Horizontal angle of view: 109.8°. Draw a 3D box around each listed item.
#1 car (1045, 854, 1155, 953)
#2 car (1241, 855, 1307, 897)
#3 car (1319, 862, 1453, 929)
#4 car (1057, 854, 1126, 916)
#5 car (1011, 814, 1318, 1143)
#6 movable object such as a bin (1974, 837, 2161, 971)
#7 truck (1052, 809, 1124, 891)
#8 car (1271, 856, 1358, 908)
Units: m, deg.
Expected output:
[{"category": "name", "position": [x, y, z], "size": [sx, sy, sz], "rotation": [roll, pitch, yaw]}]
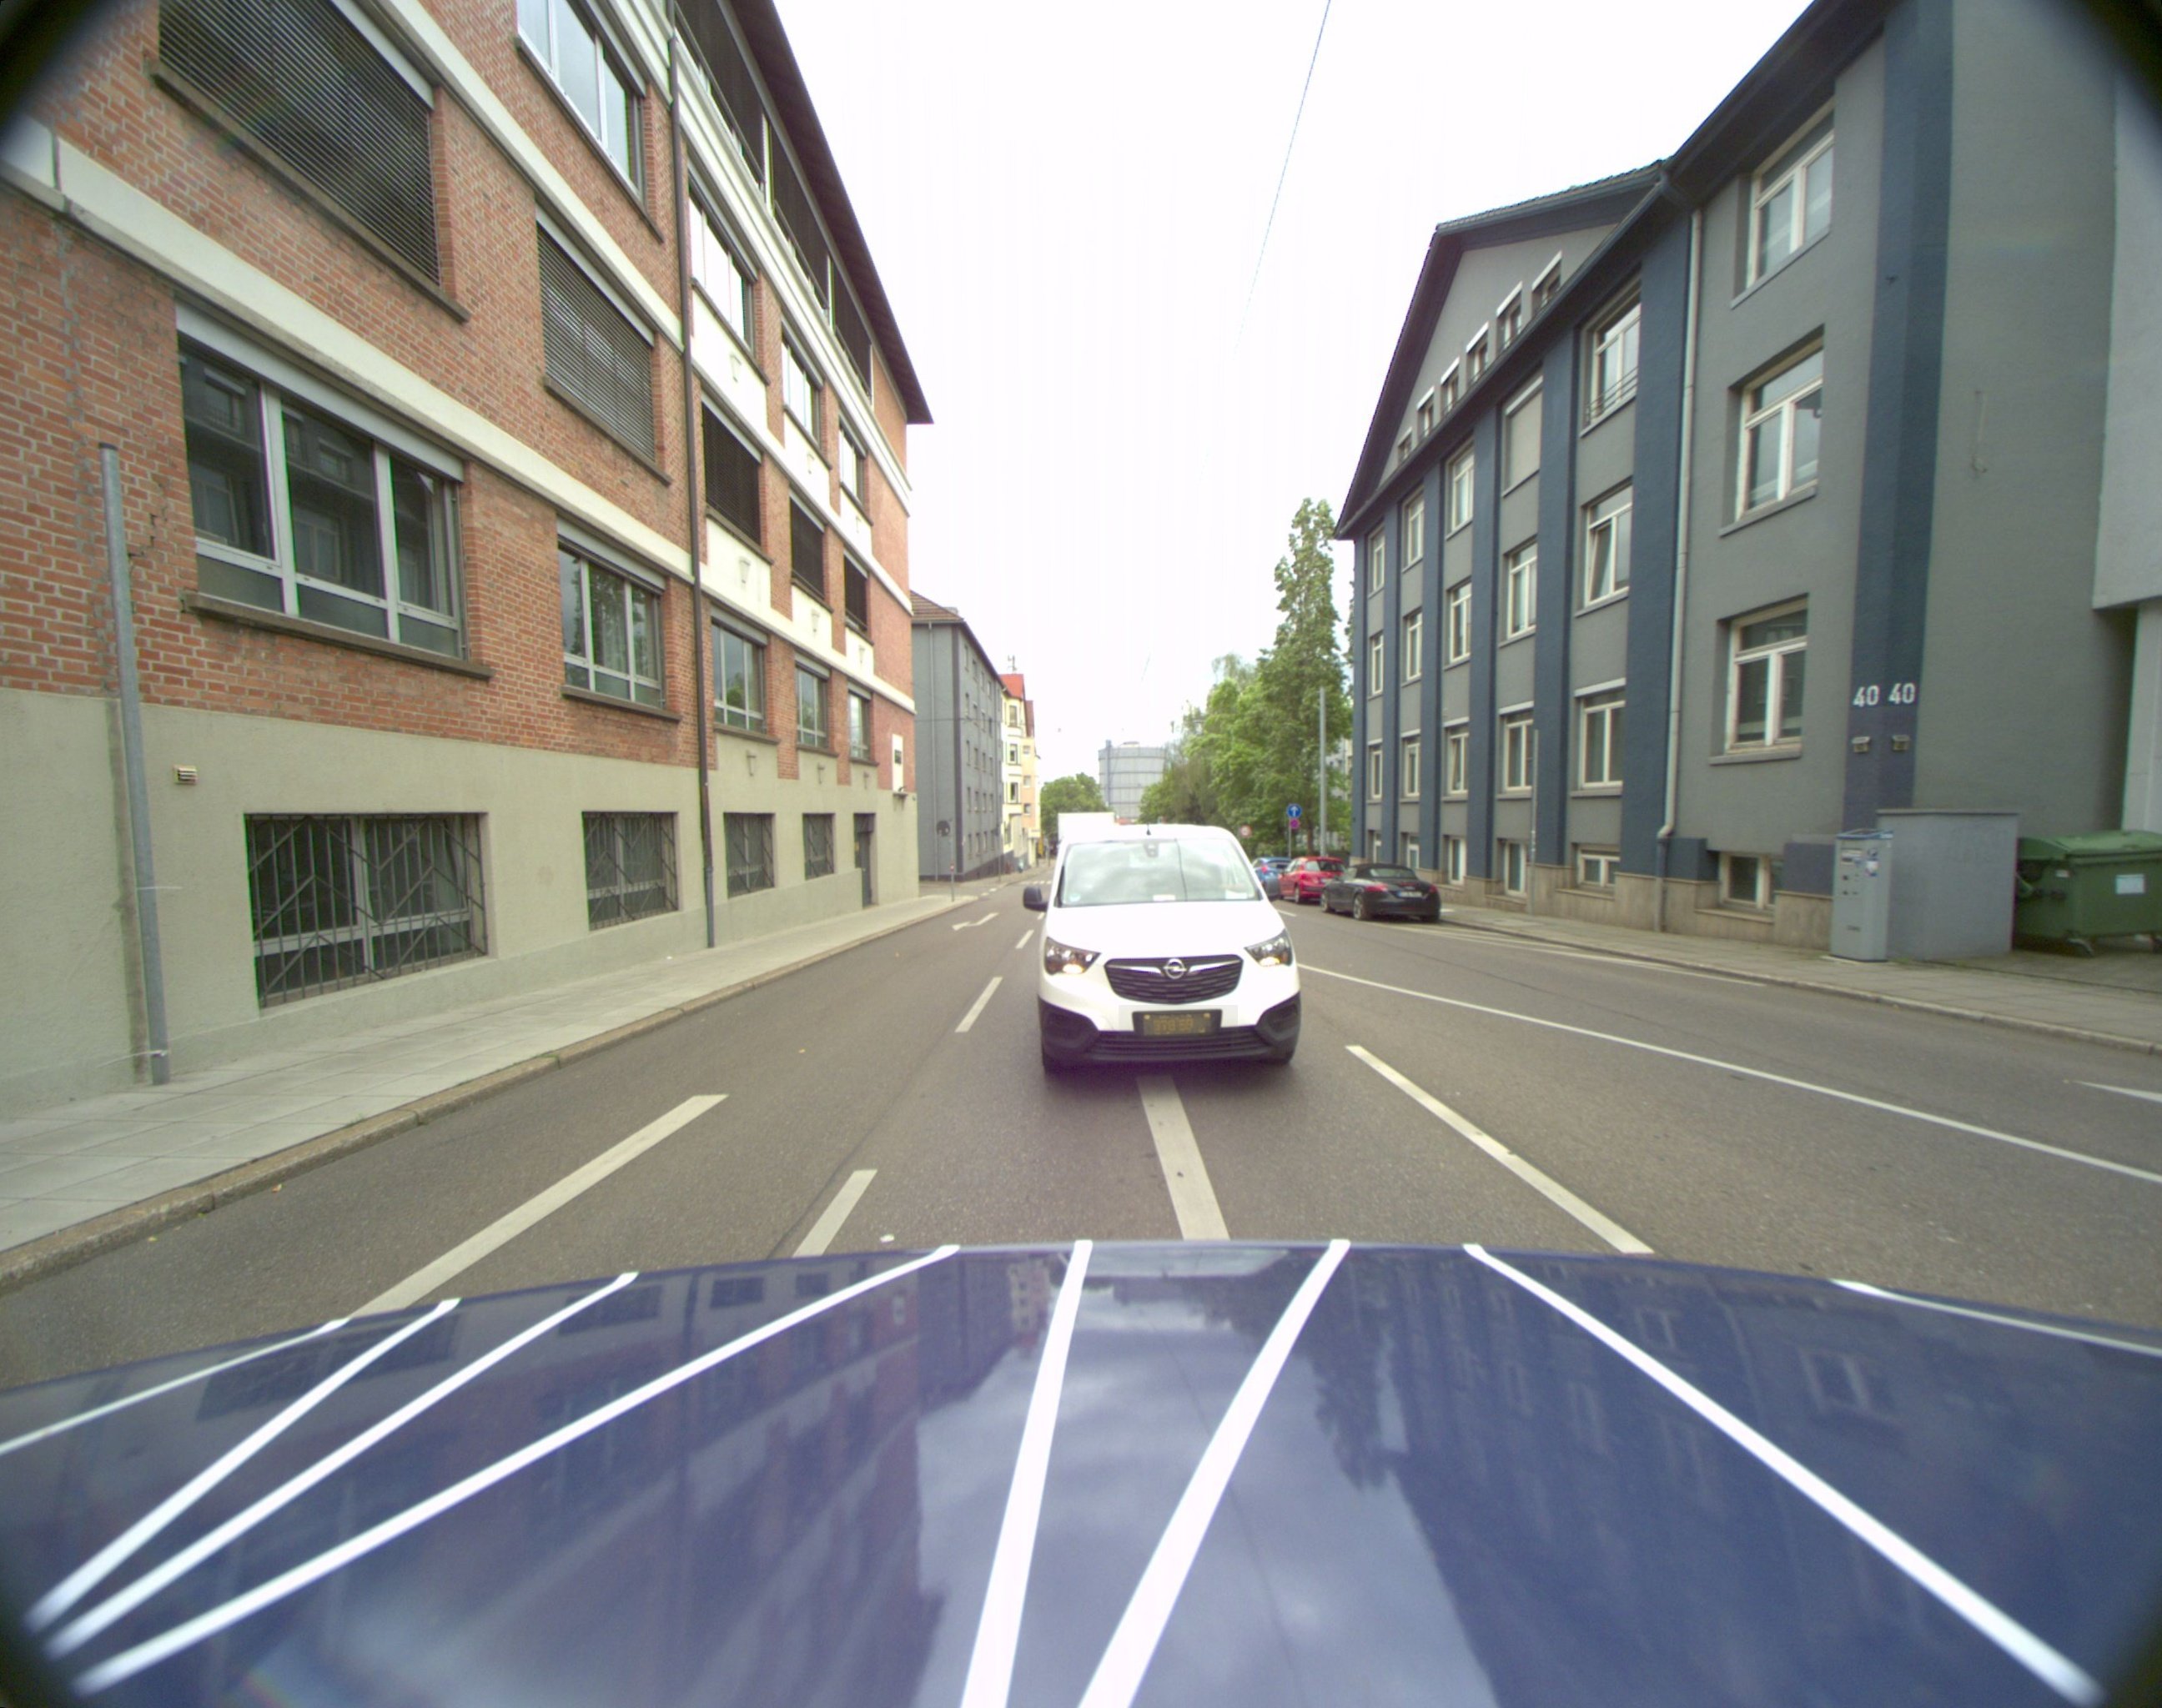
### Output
[{"category": "car", "position": [0.342, 0.811, 14.408], "size": [1.739, 1.519, 3.999], "rotation": [-2, 1, 1]}, {"category": "car", "position": [7.469, 0.805, 29.780], "size": [1.644, 1.441, 3.729], "rotation": [-2, 1, 1]}, {"category": "car", "position": [7.240, 0.924, 18.466], "size": [1.801, 1.384, 3.729], "rotation": [0, 1, 1]}, {"category": "car", "position": [0.302, 0.820, 21.900], "size": [1.739, 1.519, 3.999], "rotation": [-2, 1, 1]}, {"category": "car", "position": [0.519, 0.715, 6.465], "size": [1.739, 1.875, 3.999], "rotation": [-2, 1, 1]}, {"category": "movable object such as a bin", "position": [12.085, 0.572, 9.228], "size": [1.229, 1.498, 1.040], "rotation": [-2, 1, 1]}, {"category": "truck", "position": [0.345, -0.224, 37.101], "size": [2.969, 3.409, 8.879], "rotation": [-2, 1, 1]}, {"category": "car", "position": [7.384, 0.835, 24.360], "size": [1.644, 1.441, 3.729], "rotation": [-2, 1, 1]}]
